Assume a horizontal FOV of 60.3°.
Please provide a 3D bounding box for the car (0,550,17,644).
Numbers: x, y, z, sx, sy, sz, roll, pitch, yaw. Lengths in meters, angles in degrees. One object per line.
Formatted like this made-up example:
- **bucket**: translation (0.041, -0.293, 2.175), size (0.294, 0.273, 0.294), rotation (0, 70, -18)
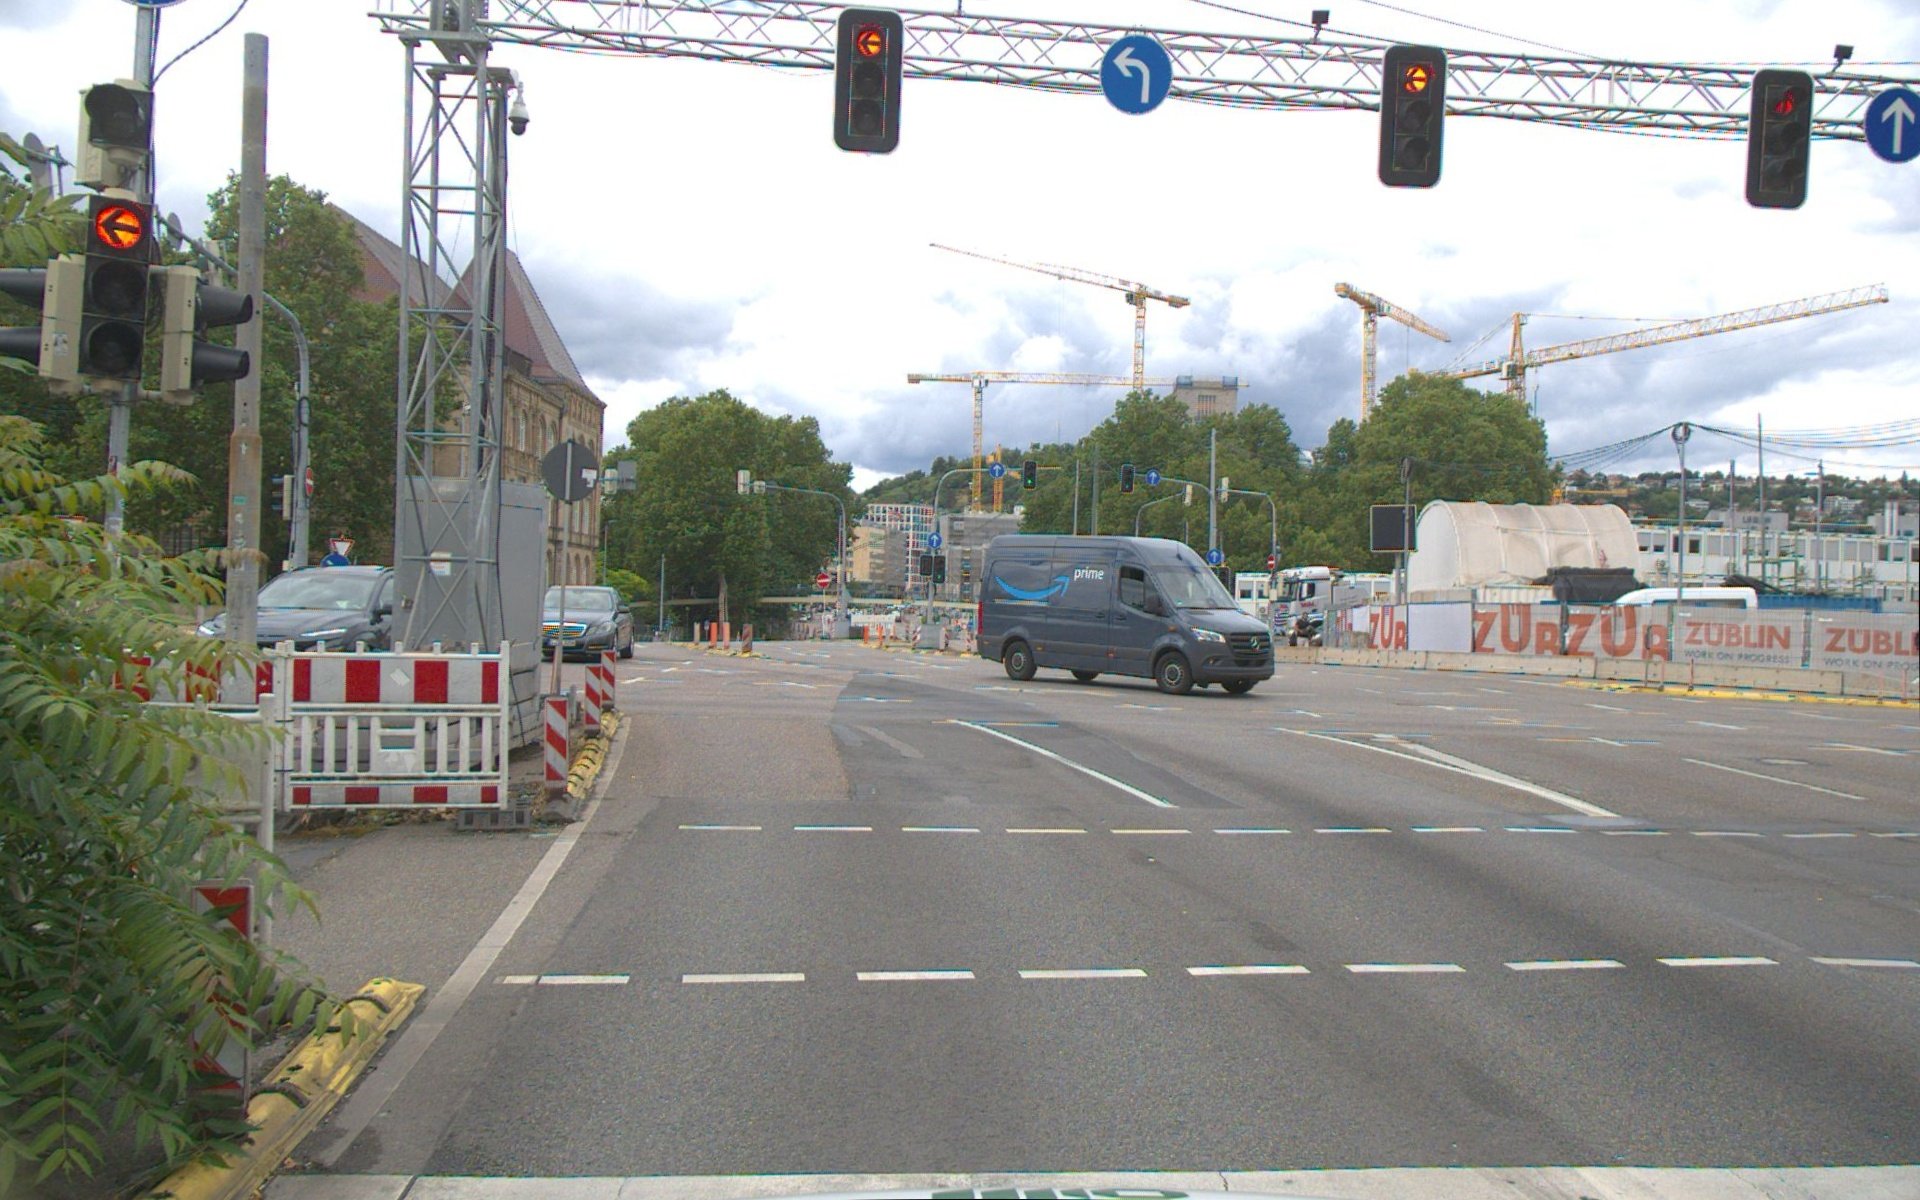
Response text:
- **car**: translation (-19.452, -0.107, 29.401), size (4.239, 1.705, 1.993), rotation (2, 0, -14)

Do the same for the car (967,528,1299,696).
- **car**: translation (2.885, 0.138, 28.979), size (2.046, 2.639, 5.921), rotation (1, 0, -42)

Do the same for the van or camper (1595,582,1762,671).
- **van or camper**: translation (20.728, 0.743, 47.900), size (4.123, 2.398, 2.002), rotation (1, 0, 14)

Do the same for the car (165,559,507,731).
- **car**: translation (-7.011, 0.443, 19.162), size (1.838, 1.699, 4.448), rotation (2, 0, 7)

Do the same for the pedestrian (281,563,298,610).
- **pedestrian**: translation (-29.569, -0.606, 72.897), size (0.523, 2.049, 0.421), rotation (2, 0, -44)

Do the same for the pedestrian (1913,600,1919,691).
- **pedestrian**: translation (22.100, 1.035, 37.640), size (0.638, 2.049, 0.517), rotation (1, 0, 24)

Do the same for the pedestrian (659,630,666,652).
- **pedestrian**: translation (-28.402, 3.942, 158.088), size (0.513, 2.049, 0.566), rotation (1, 0, -1)

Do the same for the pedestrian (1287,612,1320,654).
- **pedestrian**: translation (11.877, 1.126, 57.199), size (0.782, 1.402, 0.902), rotation (2, 0, -11)

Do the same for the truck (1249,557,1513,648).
- **truck**: translation (20.993, 0.162, 82.309), size (12.837, 4.111, 3.927), rotation (1, 0, -21)

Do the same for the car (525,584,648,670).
- **car**: translation (-7.242, 0.484, 32.407), size (1.673, 1.540, 4.285), rotation (1, 0, -4)
